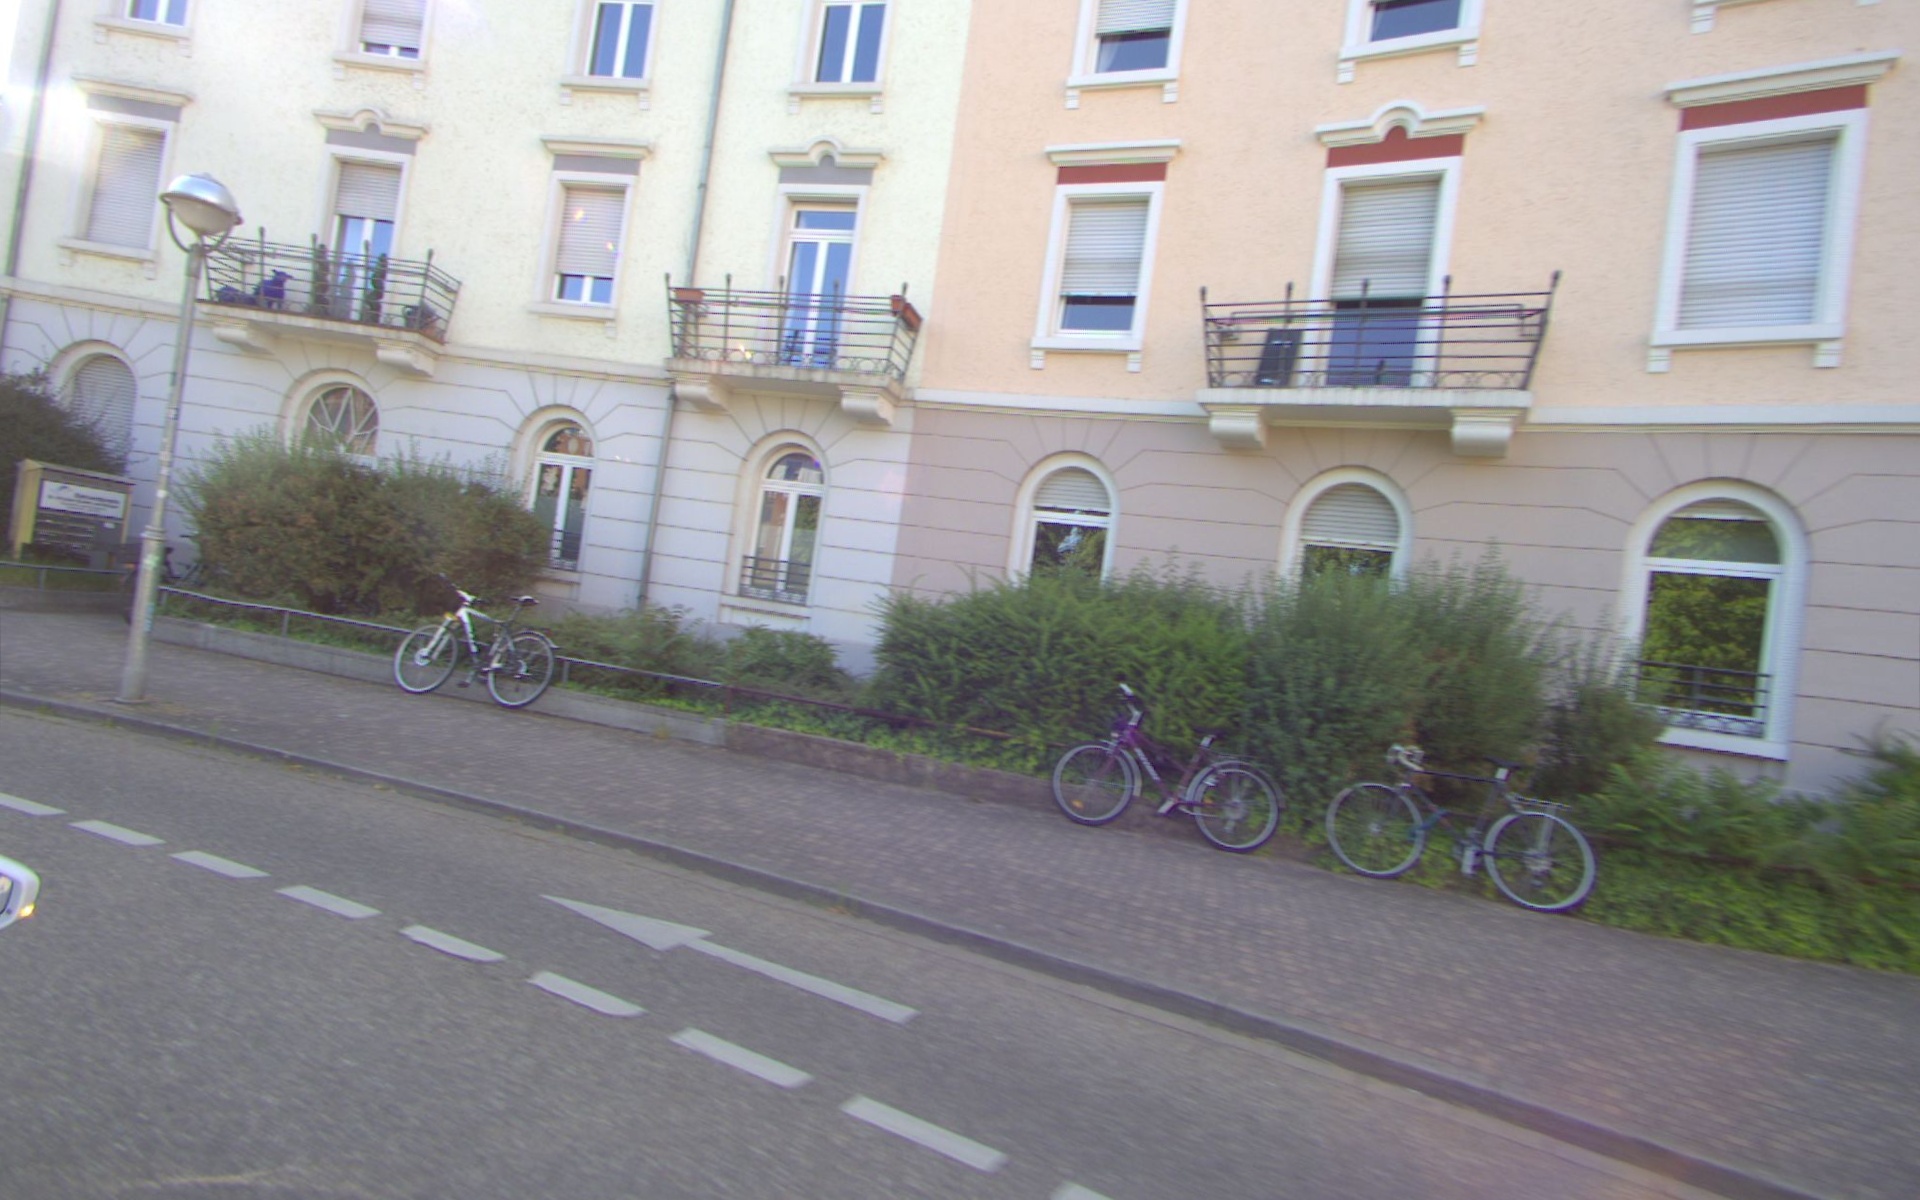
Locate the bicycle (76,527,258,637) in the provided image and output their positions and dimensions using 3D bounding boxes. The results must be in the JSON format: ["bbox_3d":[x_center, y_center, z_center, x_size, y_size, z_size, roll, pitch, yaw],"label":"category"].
[{"bbox_3d":[-9.154,-0.171,11.704,0.490,1.120,1.684,7,-1,8],"label":"bicycle"}]

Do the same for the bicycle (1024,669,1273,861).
[{"bbox_3d":[1.401,1.187,7.508,1.654,1.102,0.503,7,1,17],"label":"bicycle"}]

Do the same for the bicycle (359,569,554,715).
[{"bbox_3d":[-4.676,0.375,9.335,1.655,1.102,0.502,7,1,19],"label":"bicycle"}]

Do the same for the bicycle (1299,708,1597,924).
[{"bbox_3d":[3.258,1.425,6.863,1.654,1.102,0.503,7,1,17],"label":"bicycle"}]
